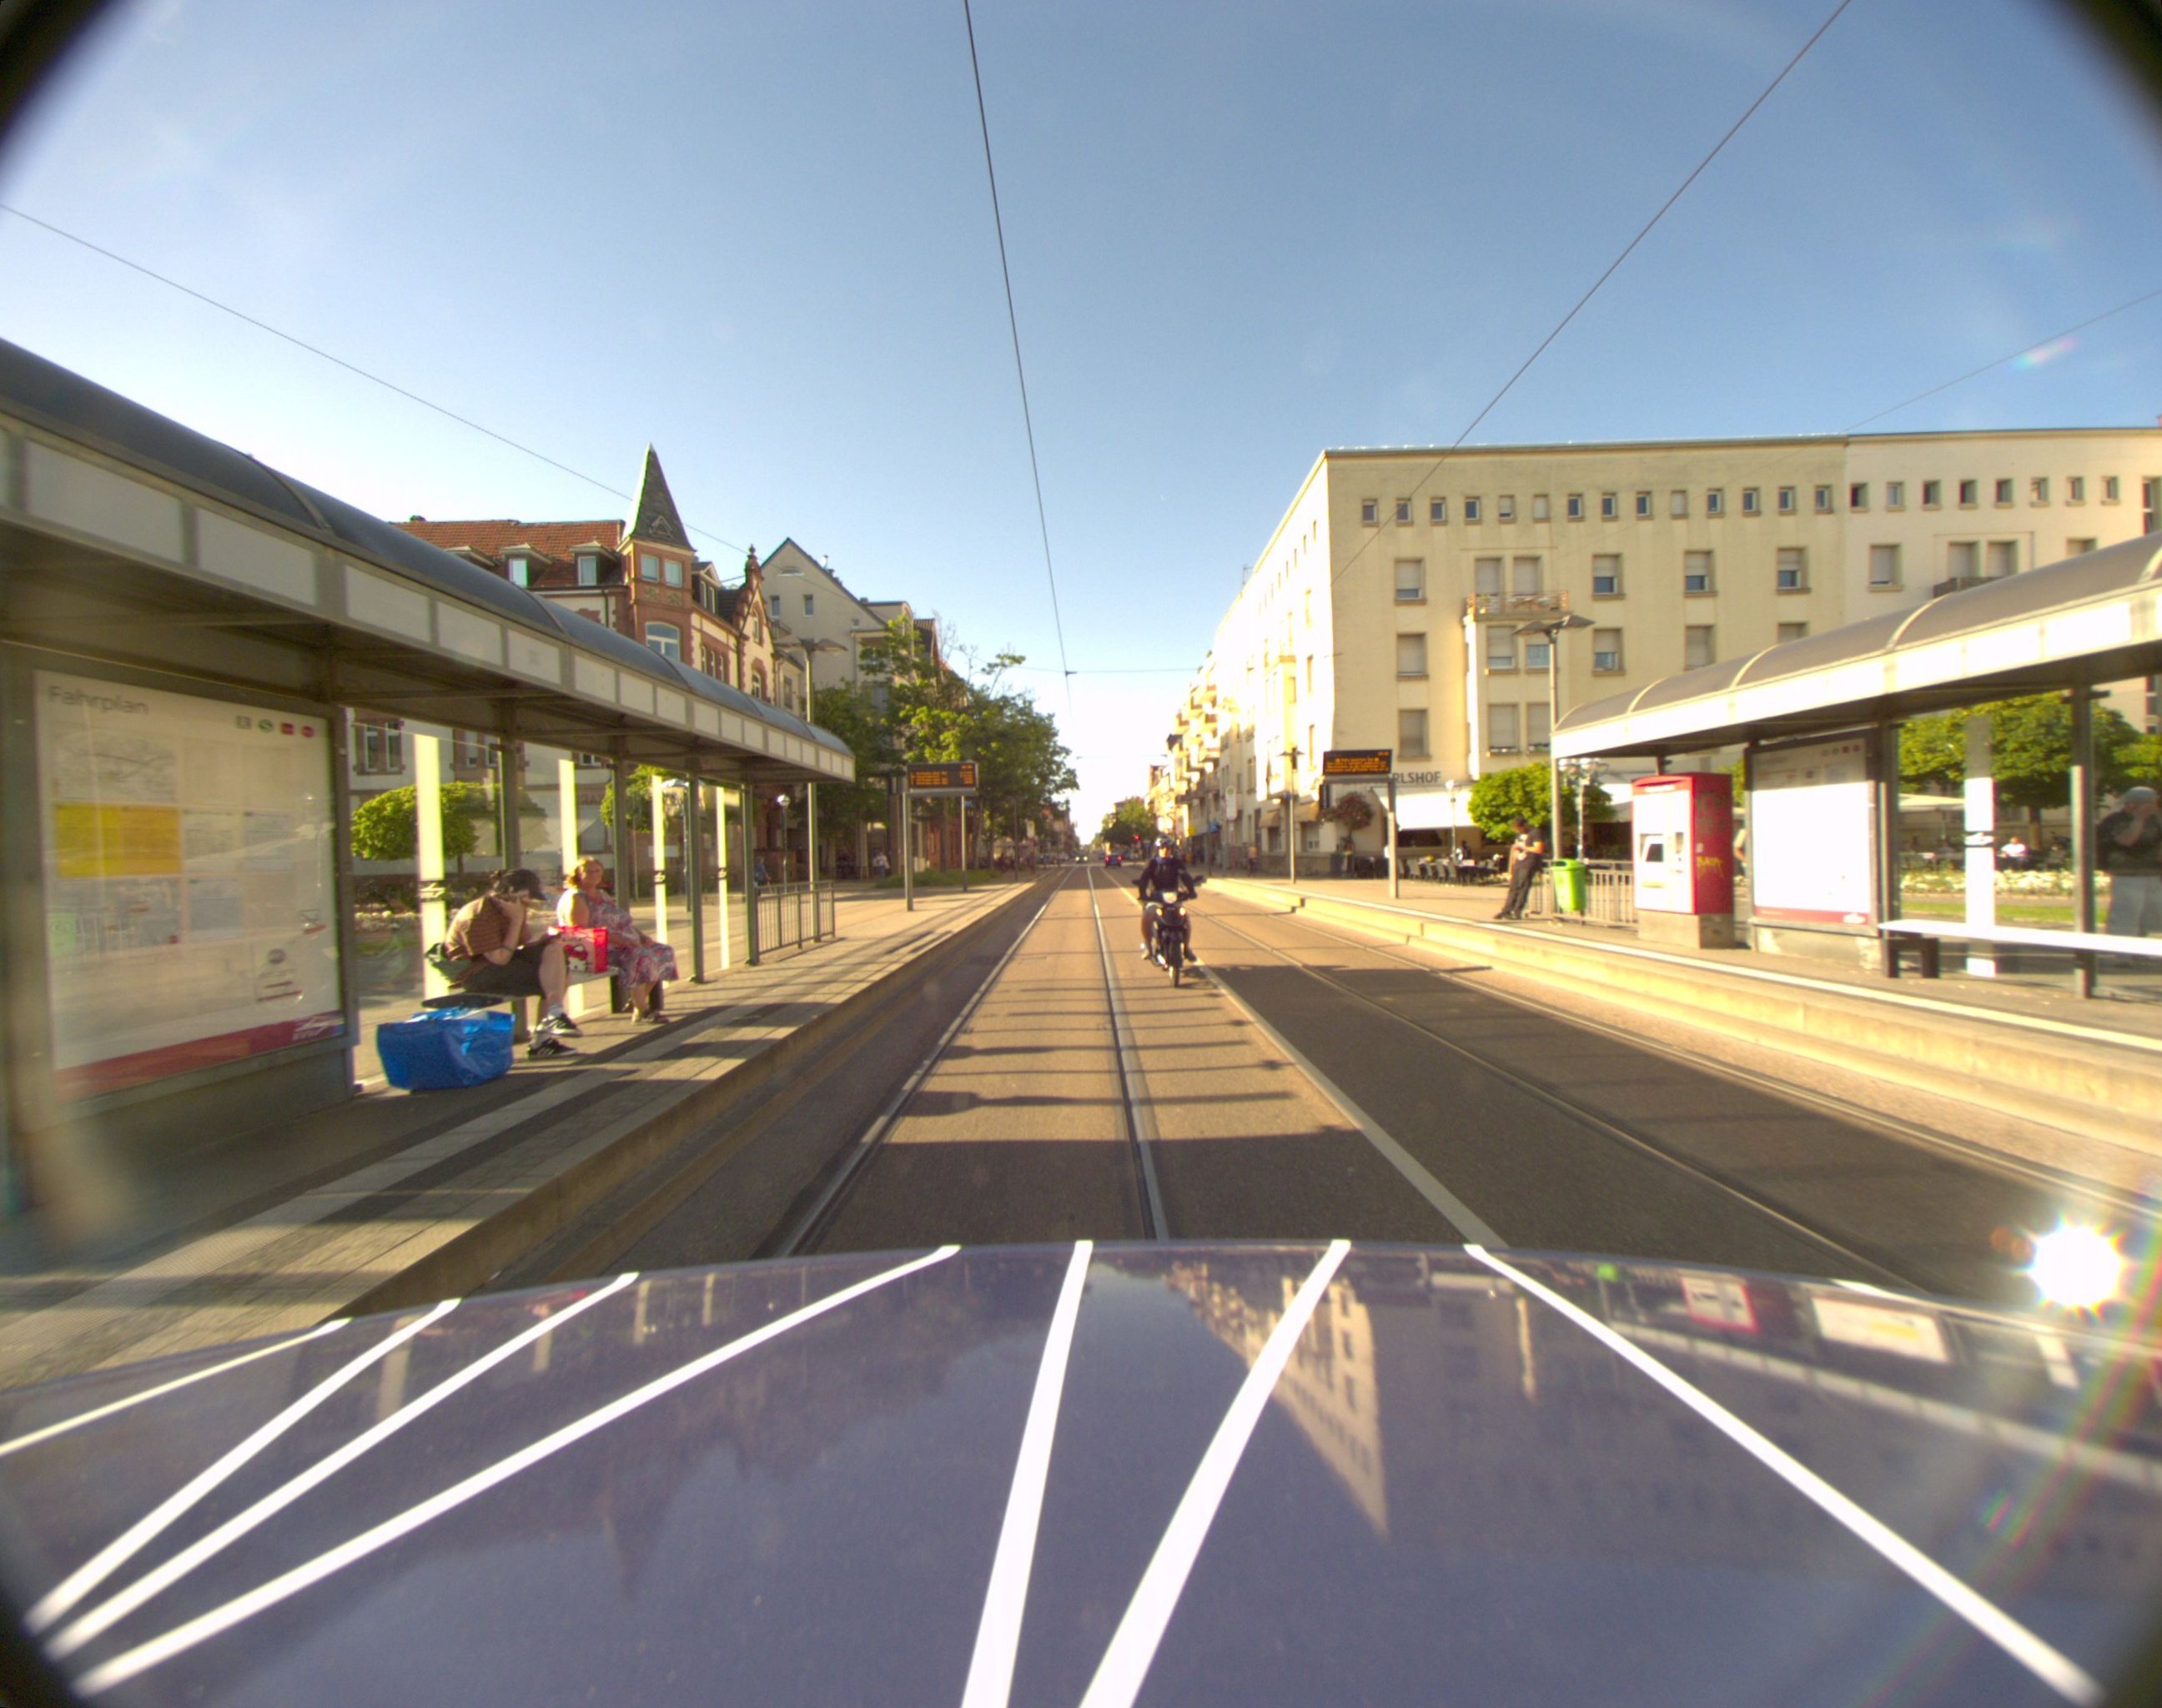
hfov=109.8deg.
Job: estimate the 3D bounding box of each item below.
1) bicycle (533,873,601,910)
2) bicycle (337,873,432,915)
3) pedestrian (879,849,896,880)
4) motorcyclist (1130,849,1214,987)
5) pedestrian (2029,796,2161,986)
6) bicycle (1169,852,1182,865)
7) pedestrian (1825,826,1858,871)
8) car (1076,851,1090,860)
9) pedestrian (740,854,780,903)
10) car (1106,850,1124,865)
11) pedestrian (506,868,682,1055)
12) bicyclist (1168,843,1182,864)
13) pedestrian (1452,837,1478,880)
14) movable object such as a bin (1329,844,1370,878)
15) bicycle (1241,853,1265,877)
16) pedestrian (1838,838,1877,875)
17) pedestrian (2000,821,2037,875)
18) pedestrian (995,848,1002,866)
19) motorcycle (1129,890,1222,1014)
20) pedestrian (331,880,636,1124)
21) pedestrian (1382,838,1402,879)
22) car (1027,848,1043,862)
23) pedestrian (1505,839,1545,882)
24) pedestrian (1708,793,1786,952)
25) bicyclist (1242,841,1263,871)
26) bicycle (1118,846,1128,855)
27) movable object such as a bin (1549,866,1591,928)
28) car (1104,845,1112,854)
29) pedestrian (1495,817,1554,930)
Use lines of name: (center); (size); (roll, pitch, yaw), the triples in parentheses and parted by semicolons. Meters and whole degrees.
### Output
bicycle: (-18.004, 1.280, 26.715); (0.790, 1.062, 2.804); (-2, 2, -8)
bicycle: (-25.633, 1.430, 28.073); (0.746, 1.364, 2.914); (-1, 1, 1)
pedestrian: (-10.949, 0.584, 42.952); (0.742, 1.725, 0.877); (-2, 1, -6)
motorcyclist: (1.016, 0.681, 8.725); (0.821, 1.466, 1.114); (-1, 1, 1)
pedestrian: (9.939, 0.317, 7.074); (0.994, 1.670, 0.975); (-1, 1, 13)
bicycle: (8.163, 0.379, 65.713); (0.714, 1.119, 2.035); (-2, 1, -3)
pedestrian: (29.882, -0.195, 29.866); (0.675, 1.726, 0.683); (1, -2, -27)
car: (0.339, 0.248, 118.958); (1.998, 1.318, 3.863); (-1, 0, 1)
pedestrian: (-11.159, 0.840, 26.477); (1.070, 1.659, 0.956); (-2, 1, -12)
car: (3.519, 0.333, 78.927); (1.671, 1.479, 3.999); (-2, 0, 0)
pedestrian: (-3.814, 0.812, 6.008); (0.861, 1.327, 0.623); (-4, 1, 1)
bicyclist: (8.133, -0.066, 65.654); (1.006, 1.783, 1.095); (-1, 1, -2)
pedestrian: (14.875, 0.192, 29.420); (0.672, 1.634, 0.678); (-2, -3, 45)
movable object such as a bin: (11.376, 0.272, 32.190); (1.318, 1.392, 1.128); (-1, 1, -1)
bicycle: (8.508, 0.512, 37.673); (0.730, 1.107, 1.976); (-2, 1, 1)
pedestrian: (27.180, 0.102, 26.595); (0.644, 1.262, 0.674); (0, -2, -4)
pedestrian: (30.564, -0.179, 24.775); (0.675, 1.726, 0.718); (1, -2, -39)
pedestrian: (-9.613, 0.341, 88.833); (0.653, 2.002, 0.559); (-1, 1, 3)
motorcycle: (1.024, 1.035, 8.792); (0.799, 1.090, 2.428); (-1, 1, 1)
pedestrian: (-3.521, 0.827, 4.598); (1.001, 1.218, 0.923); (-4, 1, 1)
pedestrian: (12.851, 0.200, 31.416); (0.672, 1.634, 0.752); (-1, -2, 28)
car: (-7.084, 0.150, 117.556); (1.998, 2.002, 4.001); (-1, 1, 4)
pedestrian: (17.139, 0.244, 29.339); (1.066, 1.634, 0.757); (0, -2, -4)
pedestrian: (8.004, 0.212, 9.142); (0.429, 1.848, 0.526); (1, 1, 4)
bicyclist: (8.493, 0.081, 37.683); (0.829, 1.447, 0.877); (-2, 1, 1)
bicycle: (7.789, -0.634, 140.143); (1.228, 1.719, 3.104); (-2, 1, -8)
movable object such as a bin: (6.943, 0.600, 10.801); (0.337, 0.855, 0.416); (-1, 1, 3)
car: (6.596, -1.033, 185.906); (1.877, 2.105, 4.000); (-2, 1, 2)
pedestrian: (6.883, 0.296, 11.811); (0.550, 1.708, 0.607); (1, 1, 3)
